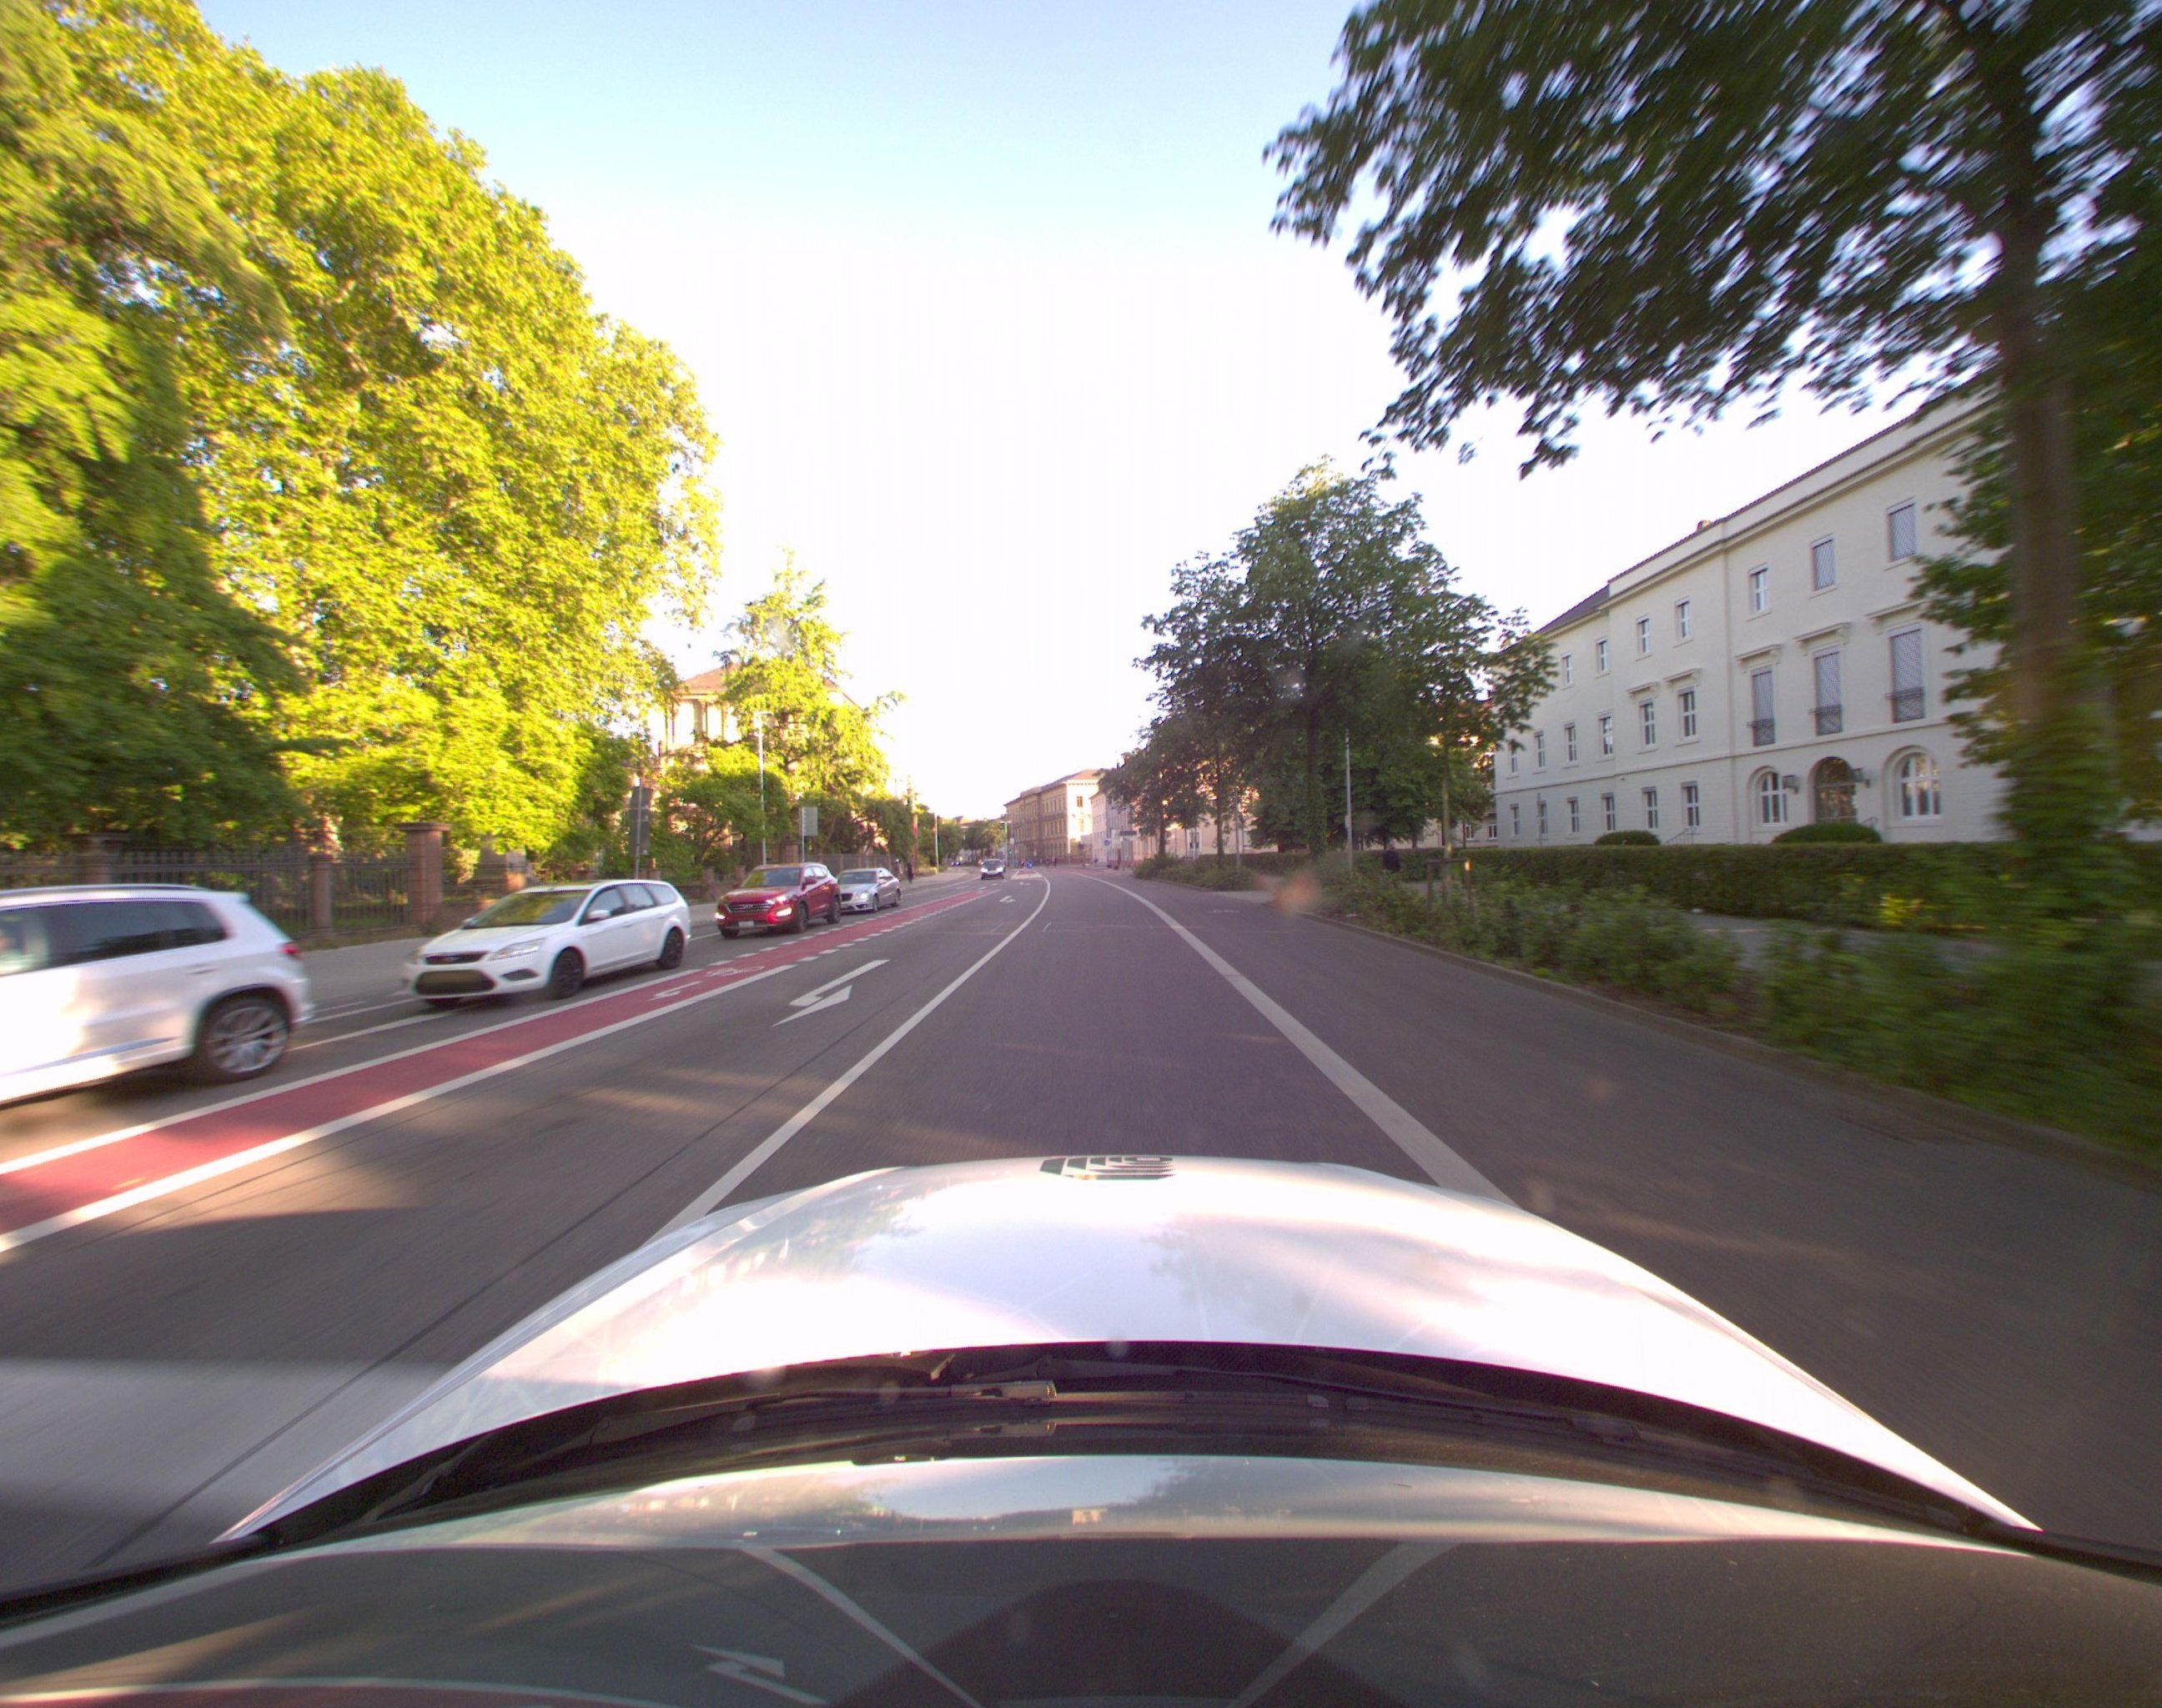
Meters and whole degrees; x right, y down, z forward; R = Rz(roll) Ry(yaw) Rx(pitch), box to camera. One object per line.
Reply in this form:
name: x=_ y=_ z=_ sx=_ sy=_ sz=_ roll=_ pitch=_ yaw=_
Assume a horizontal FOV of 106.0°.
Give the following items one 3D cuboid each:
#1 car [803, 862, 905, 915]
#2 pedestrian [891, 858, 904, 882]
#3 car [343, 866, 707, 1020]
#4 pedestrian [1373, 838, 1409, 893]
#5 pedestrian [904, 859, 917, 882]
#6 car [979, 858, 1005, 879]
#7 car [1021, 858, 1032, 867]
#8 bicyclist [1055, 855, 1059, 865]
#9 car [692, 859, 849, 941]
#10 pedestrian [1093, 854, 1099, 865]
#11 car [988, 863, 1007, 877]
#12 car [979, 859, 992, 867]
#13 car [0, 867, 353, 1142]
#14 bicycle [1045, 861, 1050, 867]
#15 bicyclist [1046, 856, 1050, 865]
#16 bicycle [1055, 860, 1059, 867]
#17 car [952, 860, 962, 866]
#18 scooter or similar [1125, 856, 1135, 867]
car: x=-7.310 y=1.065 z=26.745 sx=1.910 sy=1.418 sz=4.770 roll=-4 pitch=0 yaw=0
pedestrian: x=-12.877 y=1.136 z=57.112 sx=0.678 sy=1.622 sz=0.689 roll=-2 pitch=0 yaw=4
car: x=-7.494 y=1.060 z=11.734 sx=1.910 sy=1.583 sz=4.674 roll=-4 pitch=0 yaw=0
pedestrian: x=10.079 y=0.383 z=26.488 sx=0.768 sy=1.739 sz=0.806 roll=-2 pitch=0 yaw=-5
pedestrian: x=-11.974 y=1.147 z=57.180 sx=0.677 sy=1.622 sz=0.690 roll=-2 pitch=0 yaw=7
car: x=-7.144 y=1.129 z=65.289 sx=1.848 sy=1.526 sz=3.988 roll=-3 pitch=0 yaw=-8
car: x=-9.684 y=1.479 z=145.727 sx=1.864 sy=1.510 sz=3.994 roll=-1 pitch=-1 yaw=-4
bicyclist: x=-3.762 y=0.933 z=127.811 sx=0.650 sy=1.475 sz=0.940 roll=1 pitch=0 yaw=-3
car: x=-7.369 y=1.006 z=19.908 sx=1.910 sy=1.624 sz=4.639 roll=-4 pitch=0 yaw=0
pedestrian: x=2.356 y=0.882 z=127.843 sx=0.759 sy=1.755 sz=0.845 roll=-1 pitch=-1 yaw=1
car: x=-9.785 y=1.866 z=95.608 sx=1.836 sy=1.439 sz=3.985 roll=-3 pitch=0 yaw=-10
car: x=-19.709 y=1.902 z=167.146 sx=1.998 sy=1.585 sz=3.978 roll=-1 pitch=0 yaw=-16
car: x=-7.810 y=1.030 z=5.378 sx=1.910 sy=1.695 sz=4.426 roll=-4 pitch=0 yaw=0
bicycle: x=-5.211 y=1.542 z=127.730 sx=0.651 sy=1.015 sz=2.194 roll=1 pitch=0 yaw=-5
bicyclist: x=-5.200 y=0.989 z=127.710 sx=0.651 sy=1.446 sz=0.878 roll=1 pitch=0 yaw=-5
bicycle: x=-3.762 y=1.464 z=127.803 sx=0.650 sy=1.015 sz=2.195 roll=1 pitch=0 yaw=-3
car: x=-33.145 y=2.320 z=217.199 sx=1.987 sy=1.585 sz=3.999 roll=-1 pitch=0 yaw=-1
scooter or similar: x=5.993 y=0.967 z=99.697 sx=0.629 sy=1.337 sz=2.393 roll=-1 pitch=0 yaw=-9
